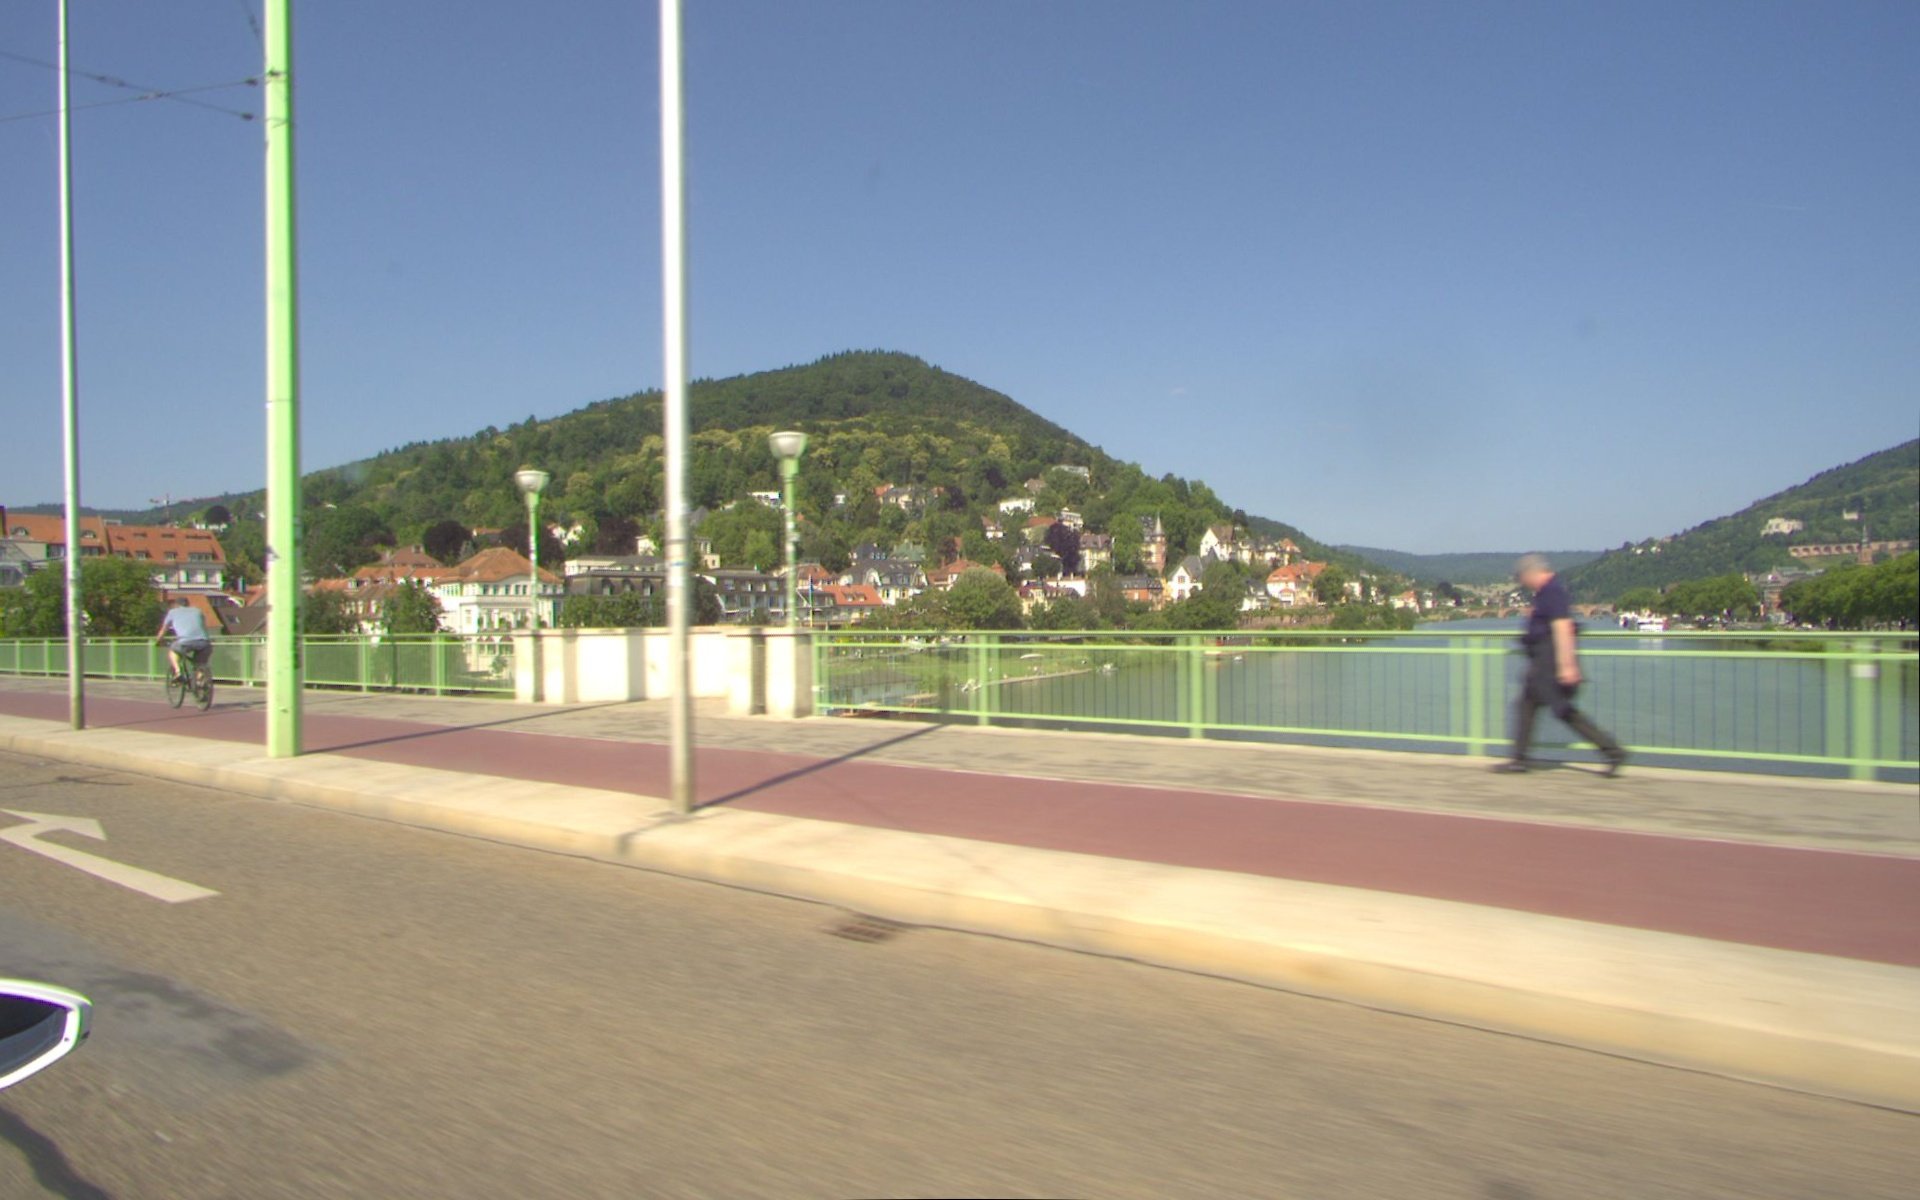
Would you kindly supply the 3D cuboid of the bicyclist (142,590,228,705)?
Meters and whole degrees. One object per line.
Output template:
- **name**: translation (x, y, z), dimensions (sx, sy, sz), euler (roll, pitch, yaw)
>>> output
- **bicyclist**: translation (-12.333, 0.735, 15.936), dimensions (1.133, 1.767, 0.672), euler (-1, 0, 29)

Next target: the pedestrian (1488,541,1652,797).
- **pedestrian**: translation (4.481, 0.479, 7.424), dimensions (0.963, 1.767, 0.654), euler (1, 1, 28)

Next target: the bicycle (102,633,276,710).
- **bicycle**: translation (-12.352, 1.094, 15.983), dimensions (3.687, 1.110, 0.791), euler (-1, 0, 29)
